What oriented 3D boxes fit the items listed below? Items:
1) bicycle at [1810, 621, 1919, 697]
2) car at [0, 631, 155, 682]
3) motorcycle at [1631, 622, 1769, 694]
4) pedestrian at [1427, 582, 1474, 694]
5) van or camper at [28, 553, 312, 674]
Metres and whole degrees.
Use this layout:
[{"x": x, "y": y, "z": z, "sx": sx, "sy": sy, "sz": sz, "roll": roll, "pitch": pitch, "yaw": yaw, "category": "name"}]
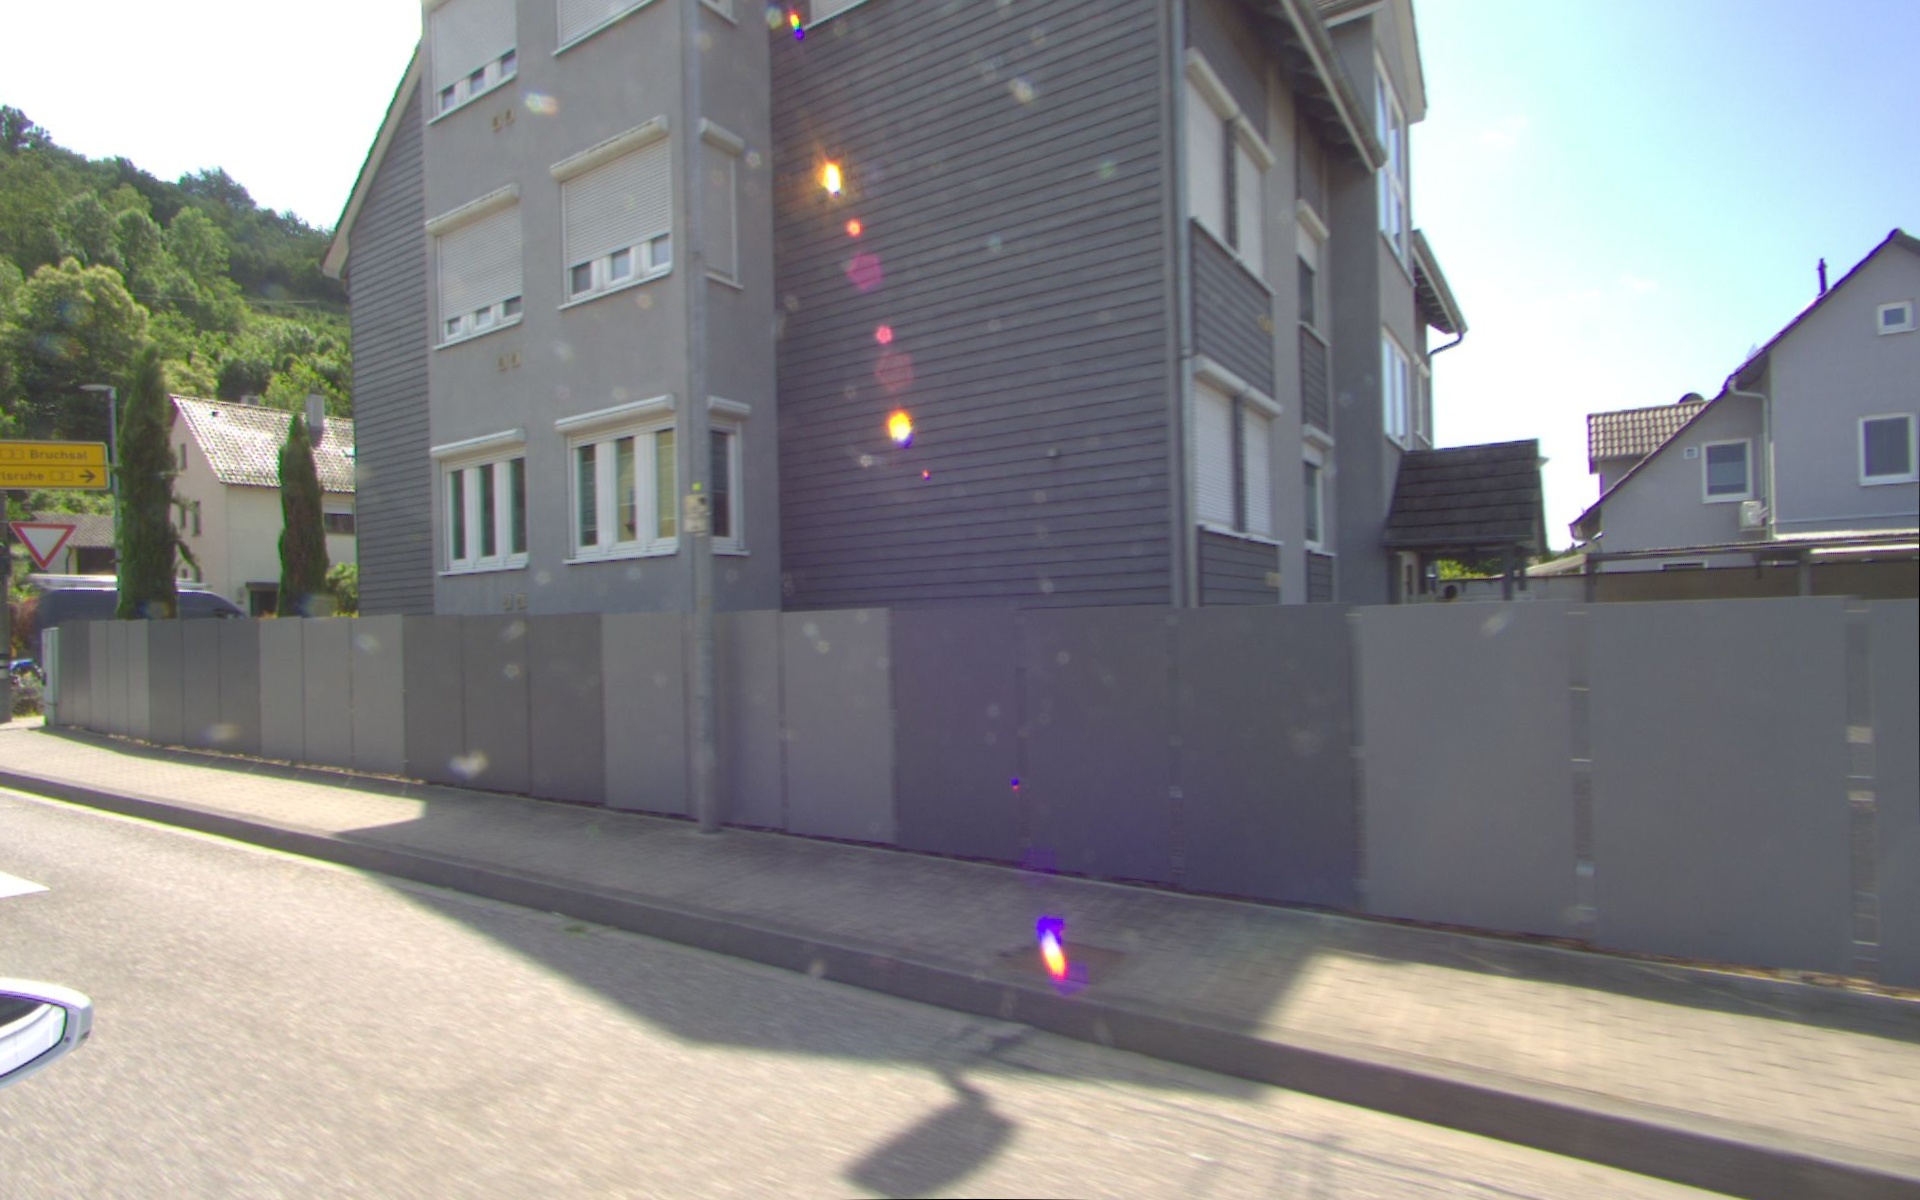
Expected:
[{"x": 15.282, "y": 0.966, "z": 16.437, "sx": 1.925, "sy": 1.188, "sz": 0.646, "roll": 1, "pitch": 0, "yaw": 34, "category": "bicycle"}, {"x": -26.019, "y": 1.635, "z": 29.266, "sx": 1.624, "sy": 1.379, "sz": 3.598, "roll": -5, "pitch": -4, "yaw": 36, "category": "car"}, {"x": 13.114, "y": 1.012, "z": 17.821, "sx": 1.925, "sy": 1.179, "sz": 0.646, "roll": 1, "pitch": 0, "yaw": 34, "category": "motorcycle"}, {"x": 6.953, "y": 0.532, "z": 14.191, "sx": 0.528, "sy": 1.549, "sz": 0.480, "roll": -1, "pitch": -1, "yaw": 36, "category": "pedestrian"}, {"x": -21.964, "y": 0.412, "z": 28.127, "sx": 2.192, "sy": 3.043, "sz": 5.968, "roll": -1, "pitch": -2, "yaw": 39, "category": "van or camper"}]
